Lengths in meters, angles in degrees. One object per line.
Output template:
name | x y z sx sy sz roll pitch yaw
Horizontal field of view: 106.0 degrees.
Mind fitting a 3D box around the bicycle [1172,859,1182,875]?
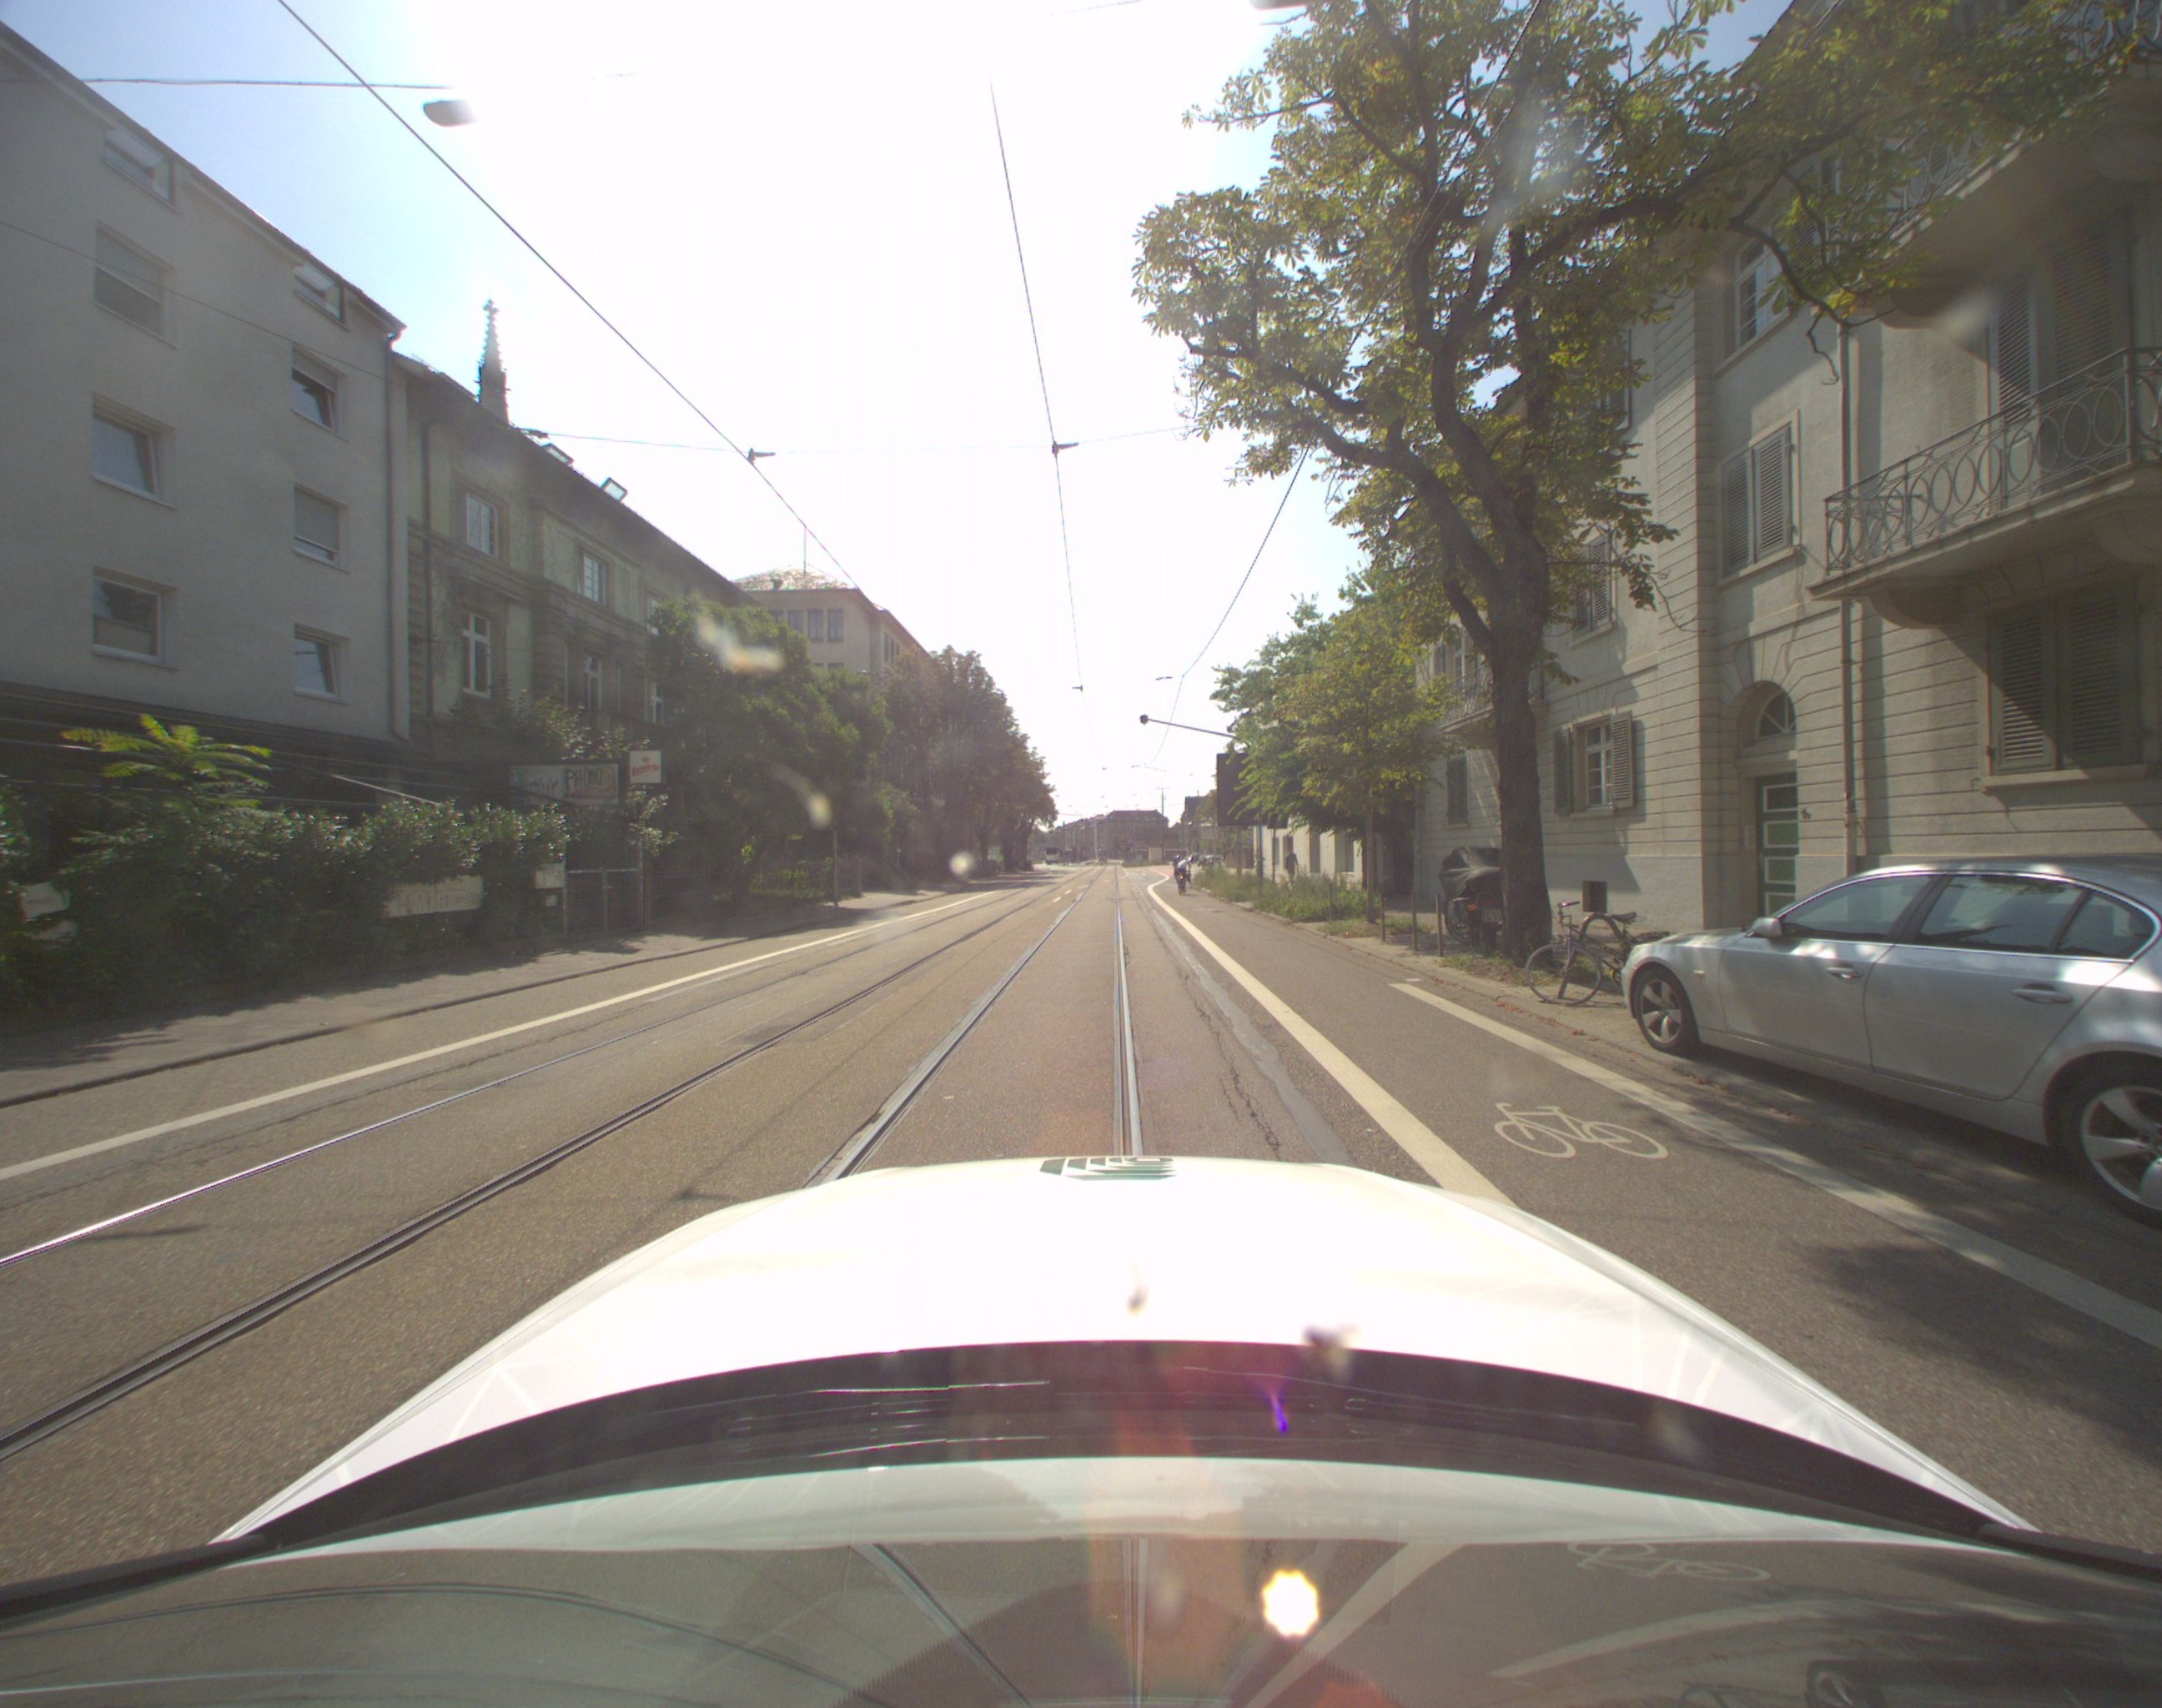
bicycle | 7.137 0.985 60.611 0.600 1.163 1.816 -1 0 11

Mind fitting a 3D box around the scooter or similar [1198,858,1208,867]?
scooter or similar | 13.783 0.934 92.061 0.766 0.926 1.628 0 0 20

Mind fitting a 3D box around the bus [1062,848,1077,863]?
bus | -2.800 0.372 198.598 2.698 3.727 10.429 0 0 4

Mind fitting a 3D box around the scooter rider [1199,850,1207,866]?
scooter rider | 13.775 0.483 92.026 0.756 1.775 0.558 -1 0 19

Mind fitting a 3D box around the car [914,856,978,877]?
car | -10.169 0.909 61.208 4.436 1.462 1.806 0 0 -25

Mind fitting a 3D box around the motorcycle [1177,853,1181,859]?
motorcycle | 19.527 0.472 162.615 0.600 1.210 2.261 -1 0 13

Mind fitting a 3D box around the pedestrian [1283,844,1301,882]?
pedestrian | 9.663 0.406 37.320 0.689 1.732 0.580 -1 0 4

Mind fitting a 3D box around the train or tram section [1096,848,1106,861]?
train or tram section | 5.931 0.196 241.877 2.845 3.548 17.751 0 0 2

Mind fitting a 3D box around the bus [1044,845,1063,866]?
bus | -5.073 0.277 153.119 2.946 3.775 10.601 0 0 2

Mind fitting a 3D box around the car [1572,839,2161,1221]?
car | 5.062 0.668 4.534 1.777 1.450 4.751 -2 0 0

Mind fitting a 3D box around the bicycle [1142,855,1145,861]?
bicycle | 12.077 0.803 157.448 0.462 1.032 1.550 0 0 4

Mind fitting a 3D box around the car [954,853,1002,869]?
car | -9.688 0.636 76.597 4.181 1.496 1.801 -1 0 -35

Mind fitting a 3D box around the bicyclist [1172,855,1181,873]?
bicyclist | 7.137 0.731 60.637 0.599 1.335 0.661 -1 0 10

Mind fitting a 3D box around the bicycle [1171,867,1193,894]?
bicycle | 4.238 1.082 34.350 0.736 1.049 2.234 0 0 2

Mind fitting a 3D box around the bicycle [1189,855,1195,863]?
bicycle | 17.111 0.771 125.475 0.440 1.117 1.455 -1 0 30

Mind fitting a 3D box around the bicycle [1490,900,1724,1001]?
bicycle | 5.372 0.981 8.417 1.913 0.952 0.722 -1 0 5

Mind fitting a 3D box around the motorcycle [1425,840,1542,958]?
motorcycle | 5.848 0.597 12.011 0.880 1.553 2.419 -2 0 10

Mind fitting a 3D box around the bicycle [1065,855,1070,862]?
bicycle | -2.248 0.823 139.696 0.604 1.222 1.708 -1 0 6

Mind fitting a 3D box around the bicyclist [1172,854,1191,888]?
bicyclist | 4.231 0.708 34.293 0.742 1.411 0.962 0 0 3
